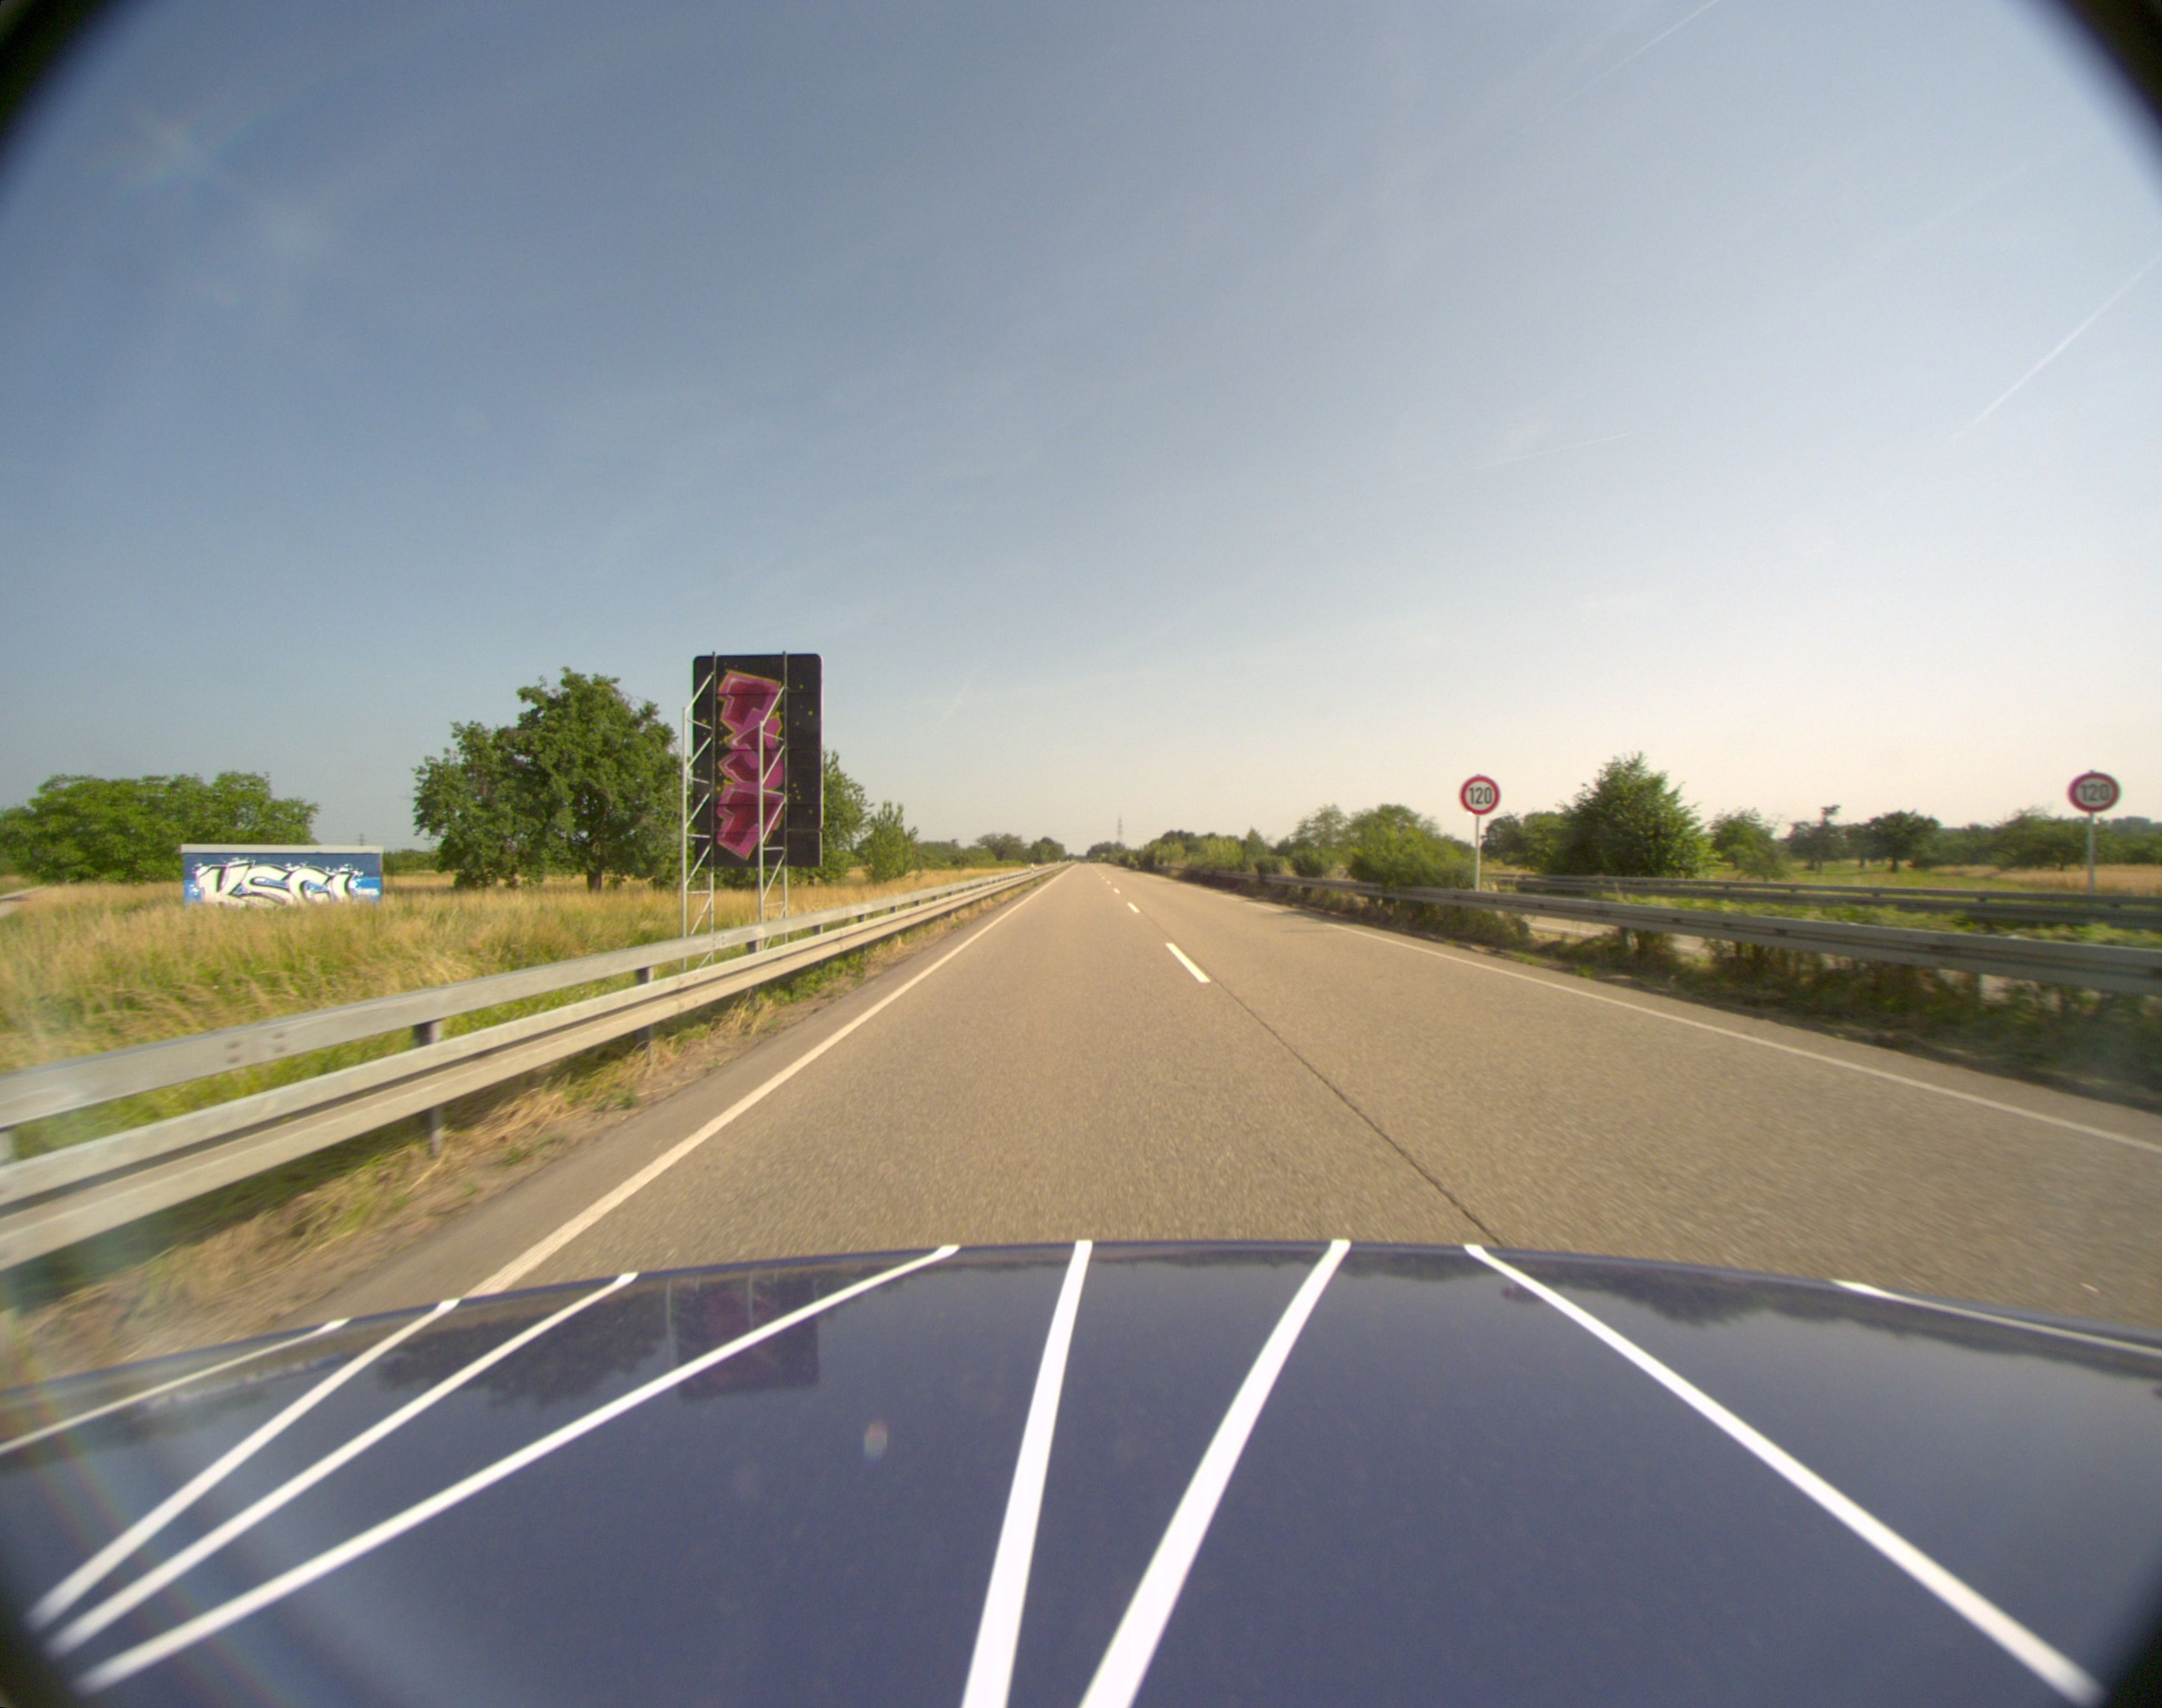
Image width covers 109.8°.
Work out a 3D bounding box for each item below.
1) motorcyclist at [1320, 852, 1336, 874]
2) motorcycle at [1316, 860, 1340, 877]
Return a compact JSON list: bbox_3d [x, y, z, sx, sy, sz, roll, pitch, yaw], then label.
[{"bbox_3d":[15.297,0.559,47.127,0.706,1.339,0.807,1,0,0],"label":"motorcyclist"},{"bbox_3d":[15.295,0.883,47.134,0.706,0.958,2.284,1,0,1],"label":"motorcycle"}]
